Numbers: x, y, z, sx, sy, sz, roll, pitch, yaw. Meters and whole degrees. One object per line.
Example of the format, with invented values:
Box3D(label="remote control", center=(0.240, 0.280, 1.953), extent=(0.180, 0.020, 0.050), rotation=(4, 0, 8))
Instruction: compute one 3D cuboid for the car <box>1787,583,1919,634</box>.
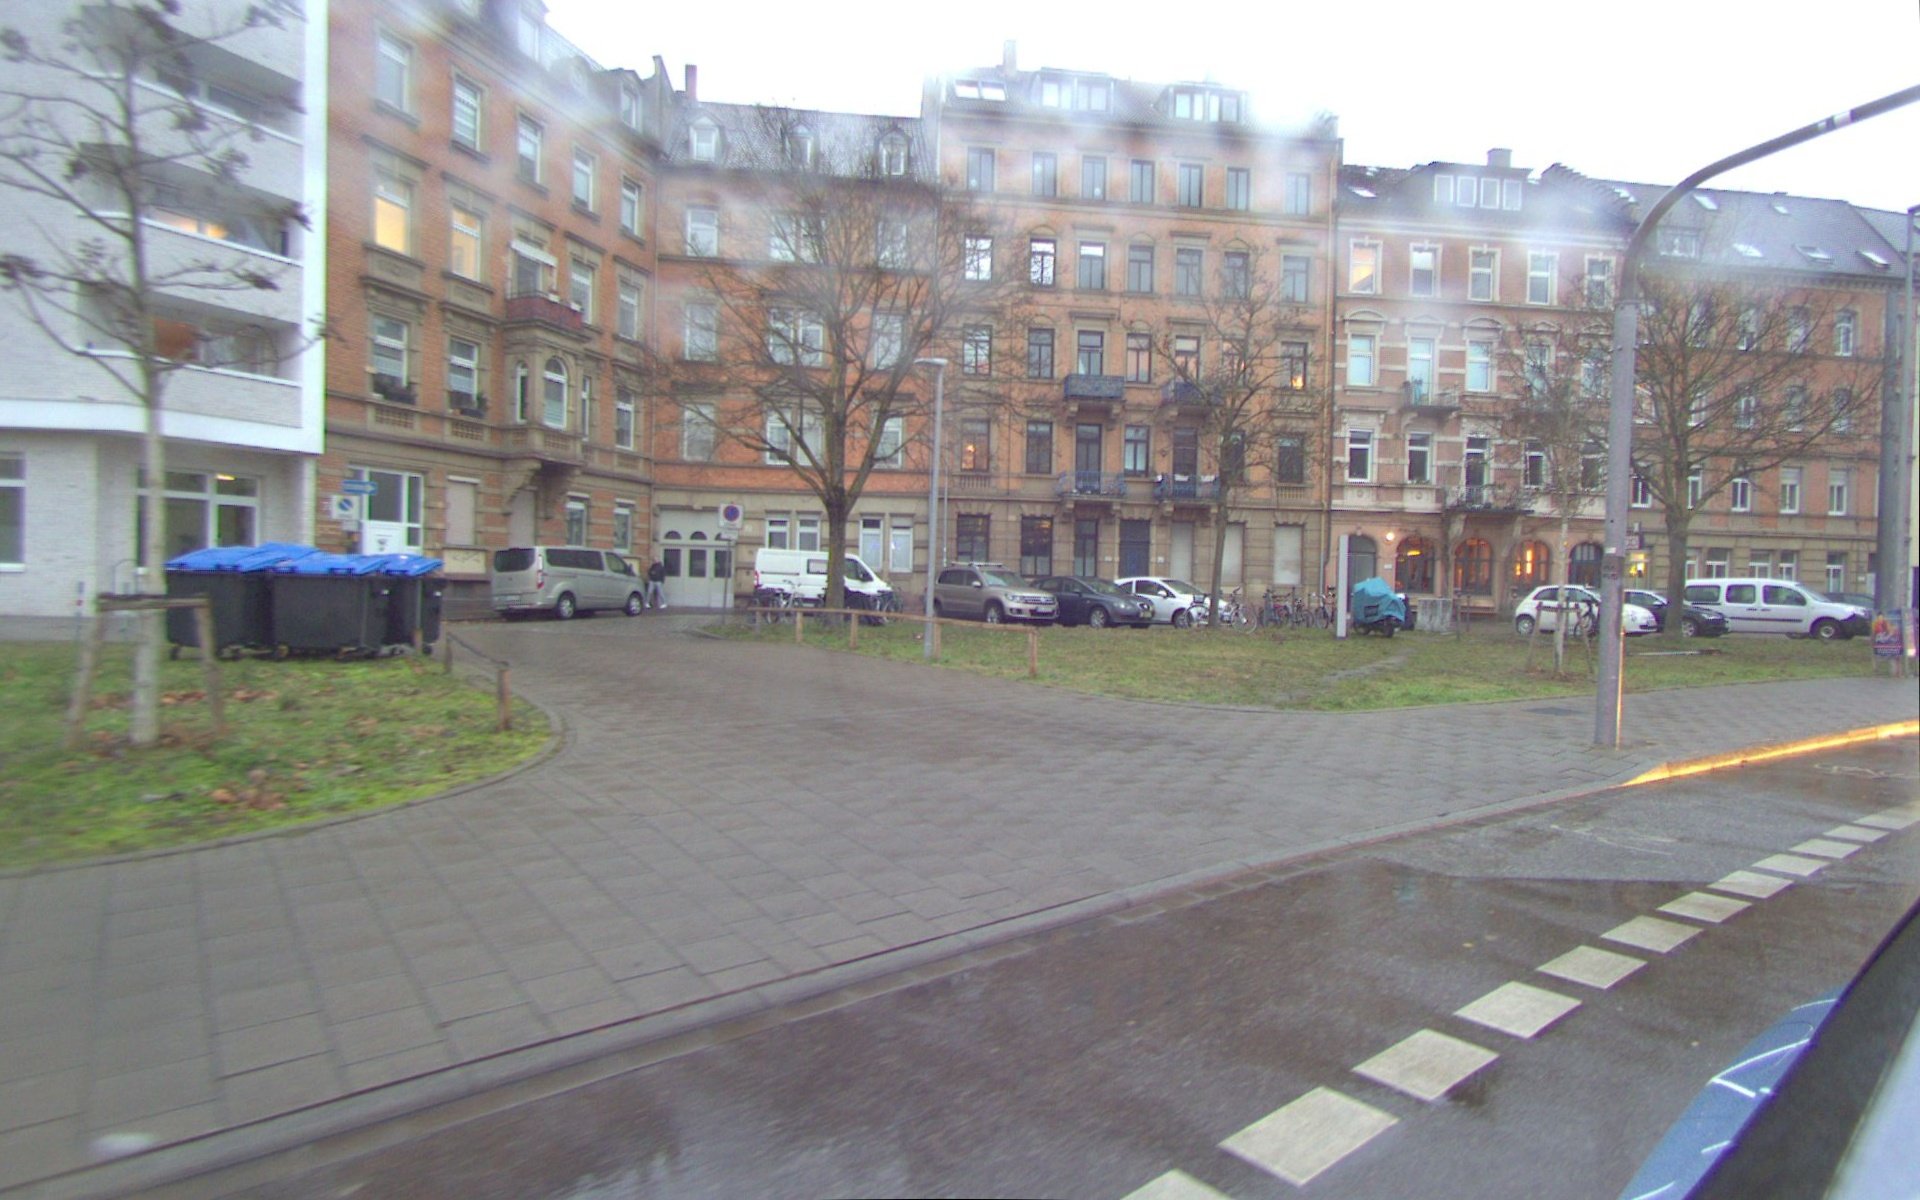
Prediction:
Box3D(label="car", center=(26.780, 0.266, 29.291), extent=(1.737, 1.250, 4.065), rotation=(2, 3, -35))

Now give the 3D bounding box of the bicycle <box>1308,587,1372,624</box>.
Box3D(label="bicycle", center=(10.930, 0.134, 29.212), extent=(0.613, 0.978, 2.176), rotation=(1, 2, -13))

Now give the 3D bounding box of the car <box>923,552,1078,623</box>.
Box3D(label="car", center=(0.964, -0.379, 26.229), extent=(1.908, 1.656, 3.999), rotation=(-1, 3, -37))

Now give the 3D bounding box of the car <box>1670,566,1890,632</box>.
Box3D(label="car", center=(23.712, -0.084, 29.444), extent=(1.745, 1.612, 4.663), rotation=(0, 3, -37))

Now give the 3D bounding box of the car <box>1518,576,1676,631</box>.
Box3D(label="car", center=(18.052, 0.088, 28.789), extent=(1.583, 1.461, 3.467), rotation=(1, -1, -35))

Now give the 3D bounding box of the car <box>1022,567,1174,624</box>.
Box3D(label="car", center=(3.544, -0.123, 26.364), extent=(1.649, 1.372, 3.737), rotation=(2, -1, -43))

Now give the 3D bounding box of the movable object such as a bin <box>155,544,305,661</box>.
Box3D(label="movable object such as a bin", center=(-9.898, 0.023, 13.776), extent=(1.303, 1.514, 1.032), rotation=(1, 1, -3))

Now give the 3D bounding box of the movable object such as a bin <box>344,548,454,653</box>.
Box3D(label="movable object such as a bin", center=(-8.331, 0.014, 15.086), extent=(1.022, 1.509, 1.035), rotation=(0, -1, 6))

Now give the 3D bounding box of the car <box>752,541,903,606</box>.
Box3D(label="car", center=(-4.483, -0.903, 34.207), extent=(4.885, 2.038, 2.004), rotation=(1, 2, -8))

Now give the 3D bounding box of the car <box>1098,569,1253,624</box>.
Box3D(label="car", center=(5.754, -0.125, 27.292), extent=(1.669, 1.353, 3.852), rotation=(0, 1, -42))

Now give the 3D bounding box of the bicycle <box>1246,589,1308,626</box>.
Box3D(label="bicycle", center=(9.048, 0.211, 28.973), extent=(0.613, 0.978, 2.175), rotation=(3, -1, -13))

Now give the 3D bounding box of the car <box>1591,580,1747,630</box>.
Box3D(label="car", center=(20.635, 0.122, 29.535), extent=(1.634, 1.368, 3.430), rotation=(1, 0, -39))

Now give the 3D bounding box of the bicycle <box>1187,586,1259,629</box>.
Box3D(label="bicycle", center=(6.278, 0.169, 24.206), extent=(1.628, 0.948, 0.512), rotation=(2, 1, 15))

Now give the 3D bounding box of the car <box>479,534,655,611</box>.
Box3D(label="car", center=(-10.842, -0.664, 28.333), extent=(1.975, 1.943, 4.715), rotation=(-1, -1, 21))

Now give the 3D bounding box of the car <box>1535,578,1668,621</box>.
Box3D(label="car", center=(23.818, 0.012, 37.635), extent=(3.967, 1.520, 1.740), rotation=(1, -1, -9))

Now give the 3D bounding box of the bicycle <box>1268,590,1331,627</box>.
Box3D(label="bicycle", center=(9.725, 0.233, 29.063), extent=(0.613, 0.978, 2.175), rotation=(3, -1, -13))

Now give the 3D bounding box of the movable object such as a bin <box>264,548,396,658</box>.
Box3D(label="movable object such as a bin", center=(-8.642, 0.023, 13.942), extent=(1.200, 1.433, 1.018), rotation=(1, 2, -3))
